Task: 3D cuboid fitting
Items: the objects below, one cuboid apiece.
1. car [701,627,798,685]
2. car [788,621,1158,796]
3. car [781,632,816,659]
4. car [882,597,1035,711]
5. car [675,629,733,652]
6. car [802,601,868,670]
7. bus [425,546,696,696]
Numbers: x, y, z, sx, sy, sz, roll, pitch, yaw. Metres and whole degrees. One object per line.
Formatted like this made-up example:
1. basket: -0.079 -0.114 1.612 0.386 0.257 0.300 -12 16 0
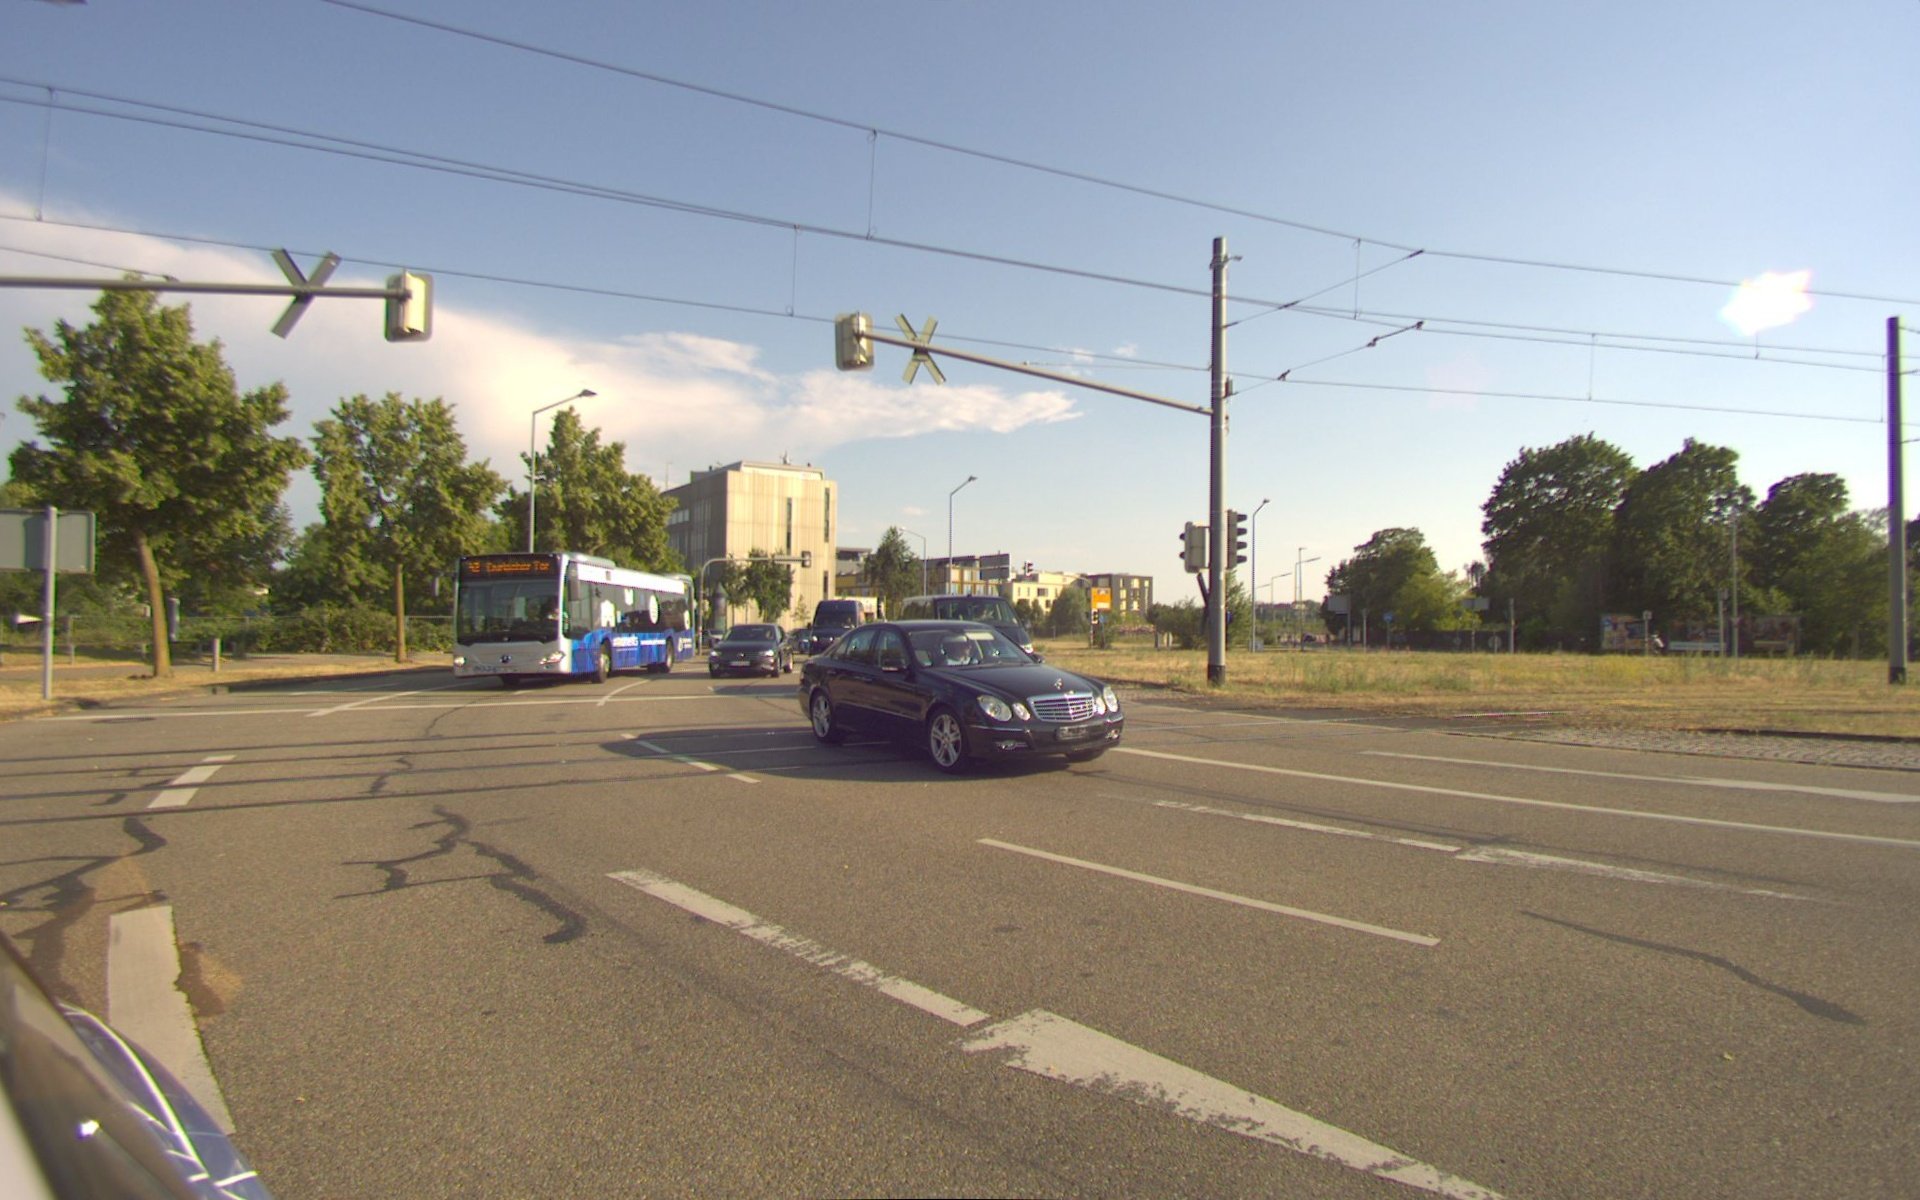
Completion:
1. car: -5.638 1.459 27.669 1.785 1.447 4.387 0 -2 -1
2. car: -0.145 0.967 11.021 1.812 1.417 4.714 -1 0 -31
3. car: -9.526 2.661 59.532 1.654 1.529 4.011 1 -2 -14
4. car: -0.206 1.062 21.201 2.060 2.063 5.257 1 -2 -13
5. car: -19.129 3.020 75.694 3.973 1.586 1.742 0 -2 23
6. car: -5.020 1.459 41.400 1.972 2.614 5.484 -1 -2 0
7. bus: -9.885 0.592 27.111 2.628 3.085 12.180 1 -2 -1
